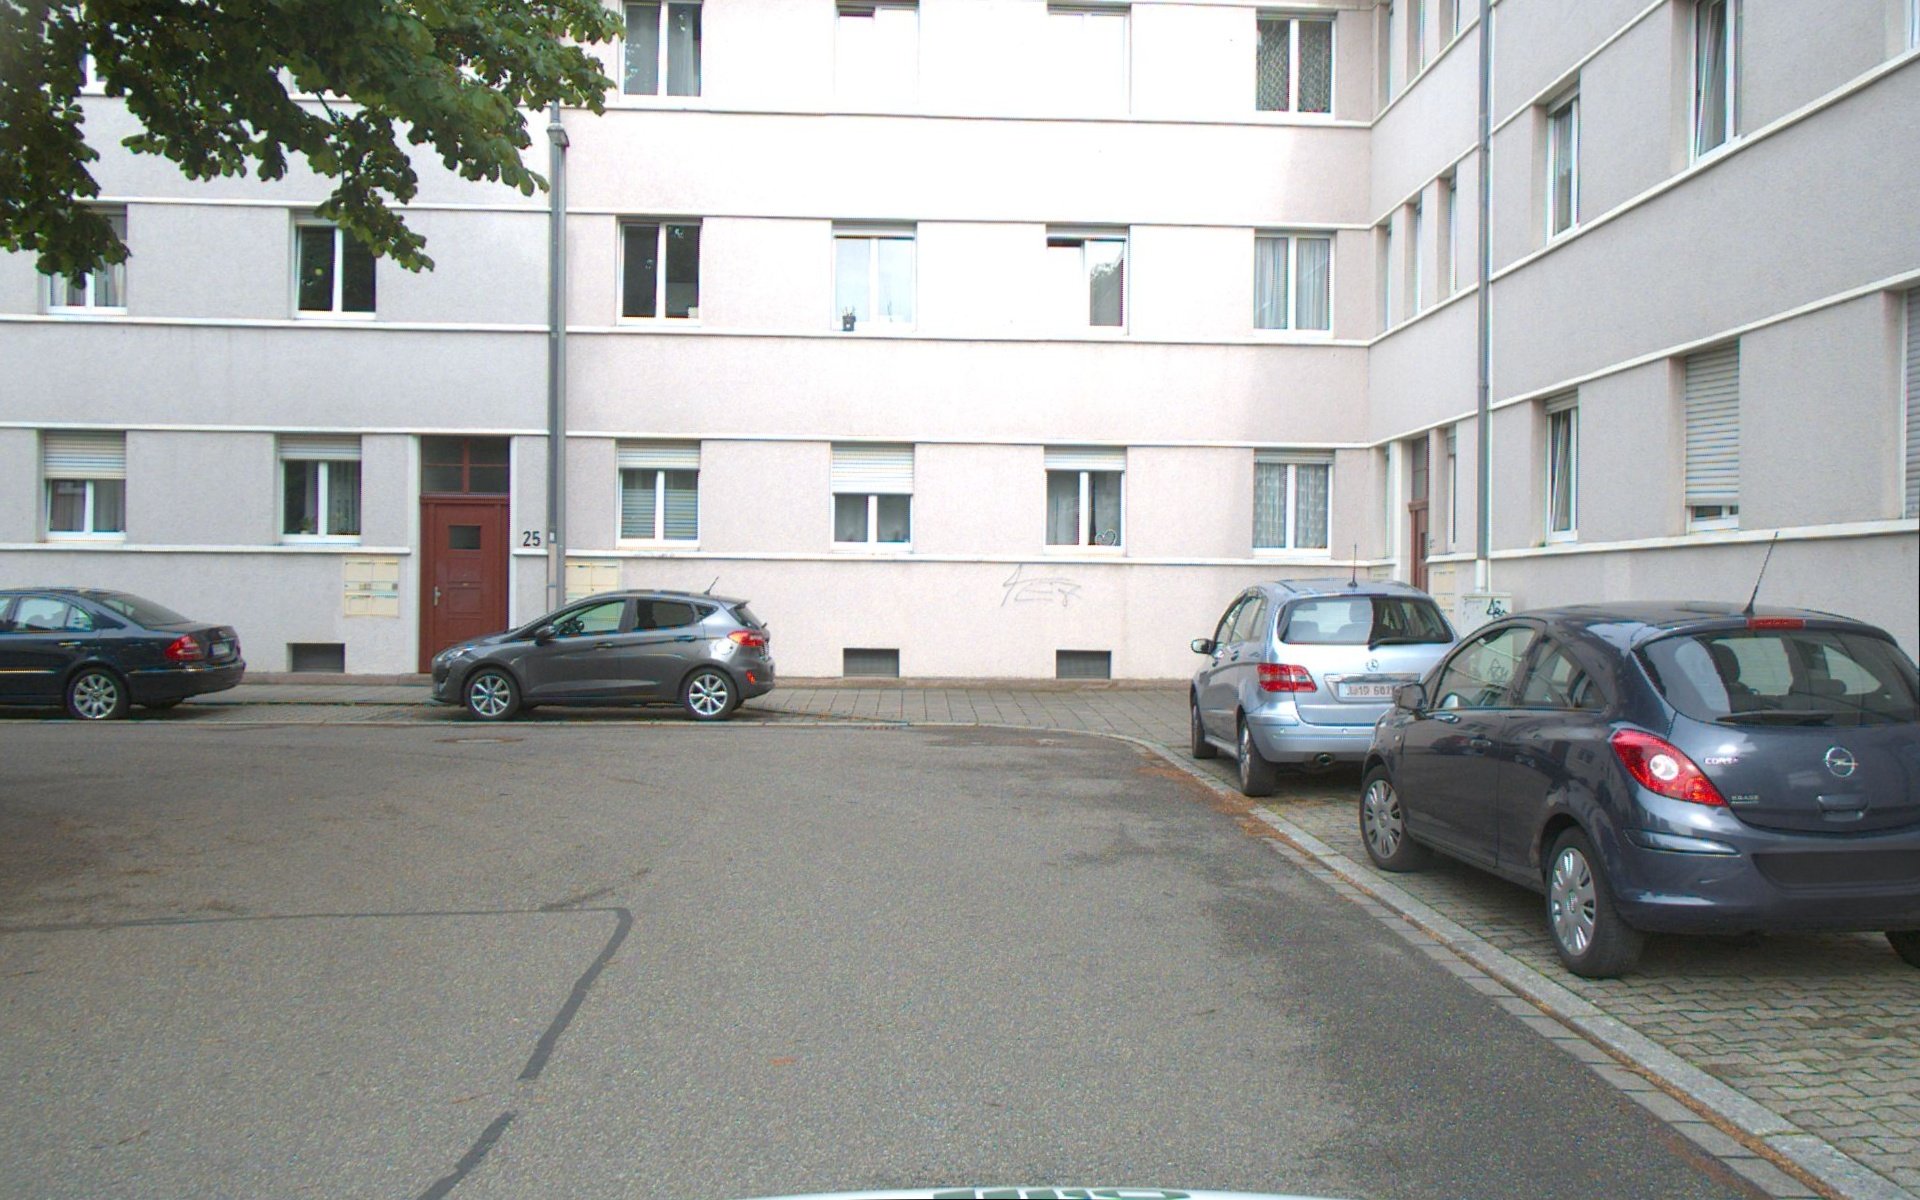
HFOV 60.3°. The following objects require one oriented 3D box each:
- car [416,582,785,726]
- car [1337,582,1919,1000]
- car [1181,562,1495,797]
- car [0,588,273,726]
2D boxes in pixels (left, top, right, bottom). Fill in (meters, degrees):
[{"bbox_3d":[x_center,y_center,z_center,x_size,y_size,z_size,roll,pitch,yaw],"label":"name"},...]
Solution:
[{"bbox_3d":[-4.112,0.599,19.430,3.985,1.551,1.761,1,1,-4],"label":"car"},{"bbox_3d":[3.184,0.711,8.017,1.721,1.516,3.935,1,0,-2],"label":"car"},{"bbox_3d":[2.967,0.575,13.853,1.720,1.656,4.200,1,0,1],"label":"car"},{"bbox_3d":[-10.641,0.612,18.865,4.835,1.445,1.750,1,1,-4],"label":"car"}]
